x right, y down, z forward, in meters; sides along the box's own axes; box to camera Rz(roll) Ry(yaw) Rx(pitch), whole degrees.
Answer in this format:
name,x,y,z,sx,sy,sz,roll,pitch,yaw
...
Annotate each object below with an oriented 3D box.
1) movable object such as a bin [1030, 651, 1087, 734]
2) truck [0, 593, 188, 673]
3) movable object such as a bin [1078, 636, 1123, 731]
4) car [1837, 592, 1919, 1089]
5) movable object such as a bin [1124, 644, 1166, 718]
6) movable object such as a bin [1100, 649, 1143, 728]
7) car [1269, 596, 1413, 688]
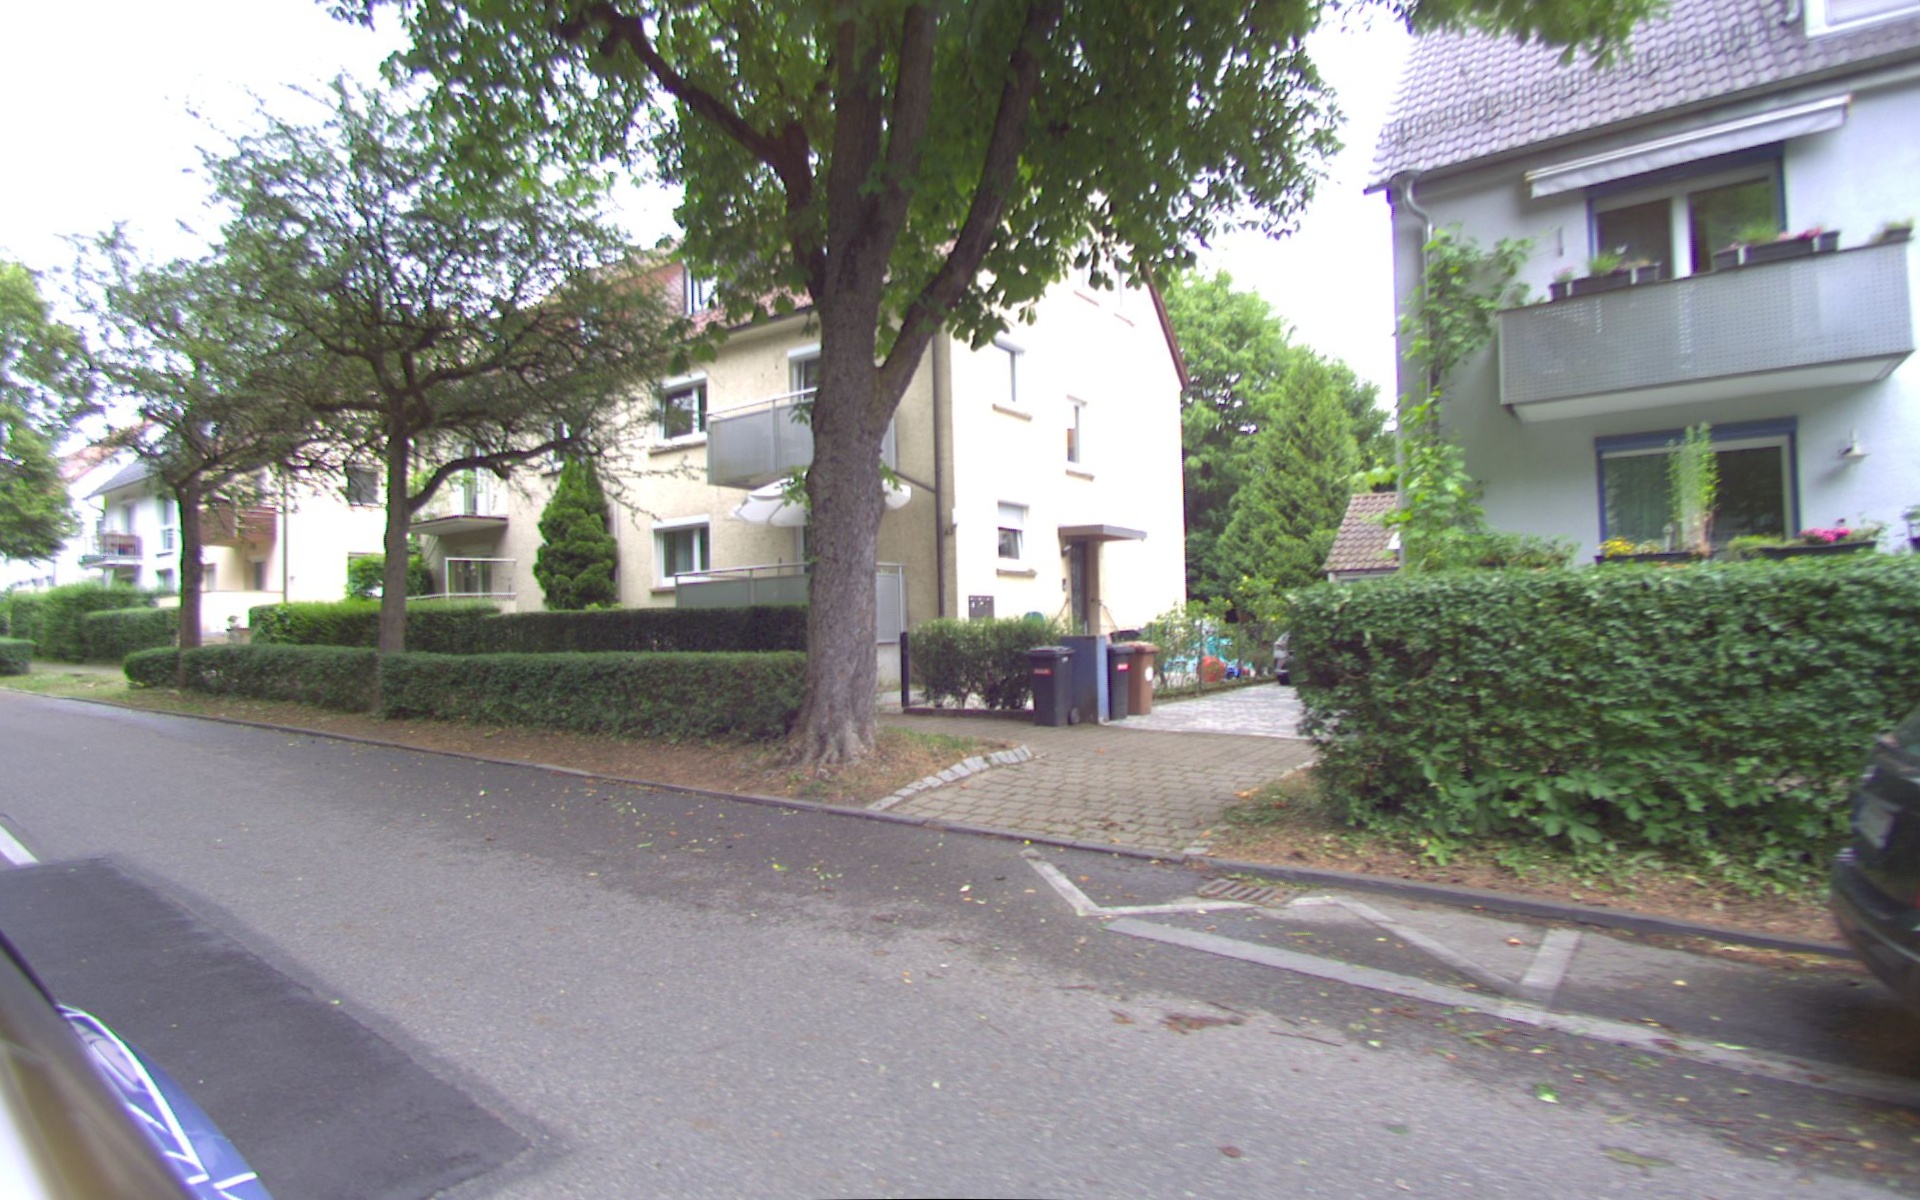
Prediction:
name,x,y,z,sx,sy,sz,roll,pitch,yaw
movable object such as a bin,1.145,1.058,11.746,0.506,0.922,0.452,-1,-3,31
truck,-36.847,1.369,43.150,2.511,3.155,5.748,-2,-2,34
movable object such as a bin,1.664,0.976,11.984,0.404,1.097,0.377,-1,-3,32
car,4.863,0.680,2.070,4.407,1.483,1.779,-2,-3,35
movable object such as a bin,2.349,1.017,12.831,0.404,0.920,0.377,-1,-3,32
movable object such as a bin,1.963,1.063,12.290,0.404,0.920,0.377,-1,-3,32
car,7.143,0.786,18.765,1.794,1.522,3.957,-2,-3,31
